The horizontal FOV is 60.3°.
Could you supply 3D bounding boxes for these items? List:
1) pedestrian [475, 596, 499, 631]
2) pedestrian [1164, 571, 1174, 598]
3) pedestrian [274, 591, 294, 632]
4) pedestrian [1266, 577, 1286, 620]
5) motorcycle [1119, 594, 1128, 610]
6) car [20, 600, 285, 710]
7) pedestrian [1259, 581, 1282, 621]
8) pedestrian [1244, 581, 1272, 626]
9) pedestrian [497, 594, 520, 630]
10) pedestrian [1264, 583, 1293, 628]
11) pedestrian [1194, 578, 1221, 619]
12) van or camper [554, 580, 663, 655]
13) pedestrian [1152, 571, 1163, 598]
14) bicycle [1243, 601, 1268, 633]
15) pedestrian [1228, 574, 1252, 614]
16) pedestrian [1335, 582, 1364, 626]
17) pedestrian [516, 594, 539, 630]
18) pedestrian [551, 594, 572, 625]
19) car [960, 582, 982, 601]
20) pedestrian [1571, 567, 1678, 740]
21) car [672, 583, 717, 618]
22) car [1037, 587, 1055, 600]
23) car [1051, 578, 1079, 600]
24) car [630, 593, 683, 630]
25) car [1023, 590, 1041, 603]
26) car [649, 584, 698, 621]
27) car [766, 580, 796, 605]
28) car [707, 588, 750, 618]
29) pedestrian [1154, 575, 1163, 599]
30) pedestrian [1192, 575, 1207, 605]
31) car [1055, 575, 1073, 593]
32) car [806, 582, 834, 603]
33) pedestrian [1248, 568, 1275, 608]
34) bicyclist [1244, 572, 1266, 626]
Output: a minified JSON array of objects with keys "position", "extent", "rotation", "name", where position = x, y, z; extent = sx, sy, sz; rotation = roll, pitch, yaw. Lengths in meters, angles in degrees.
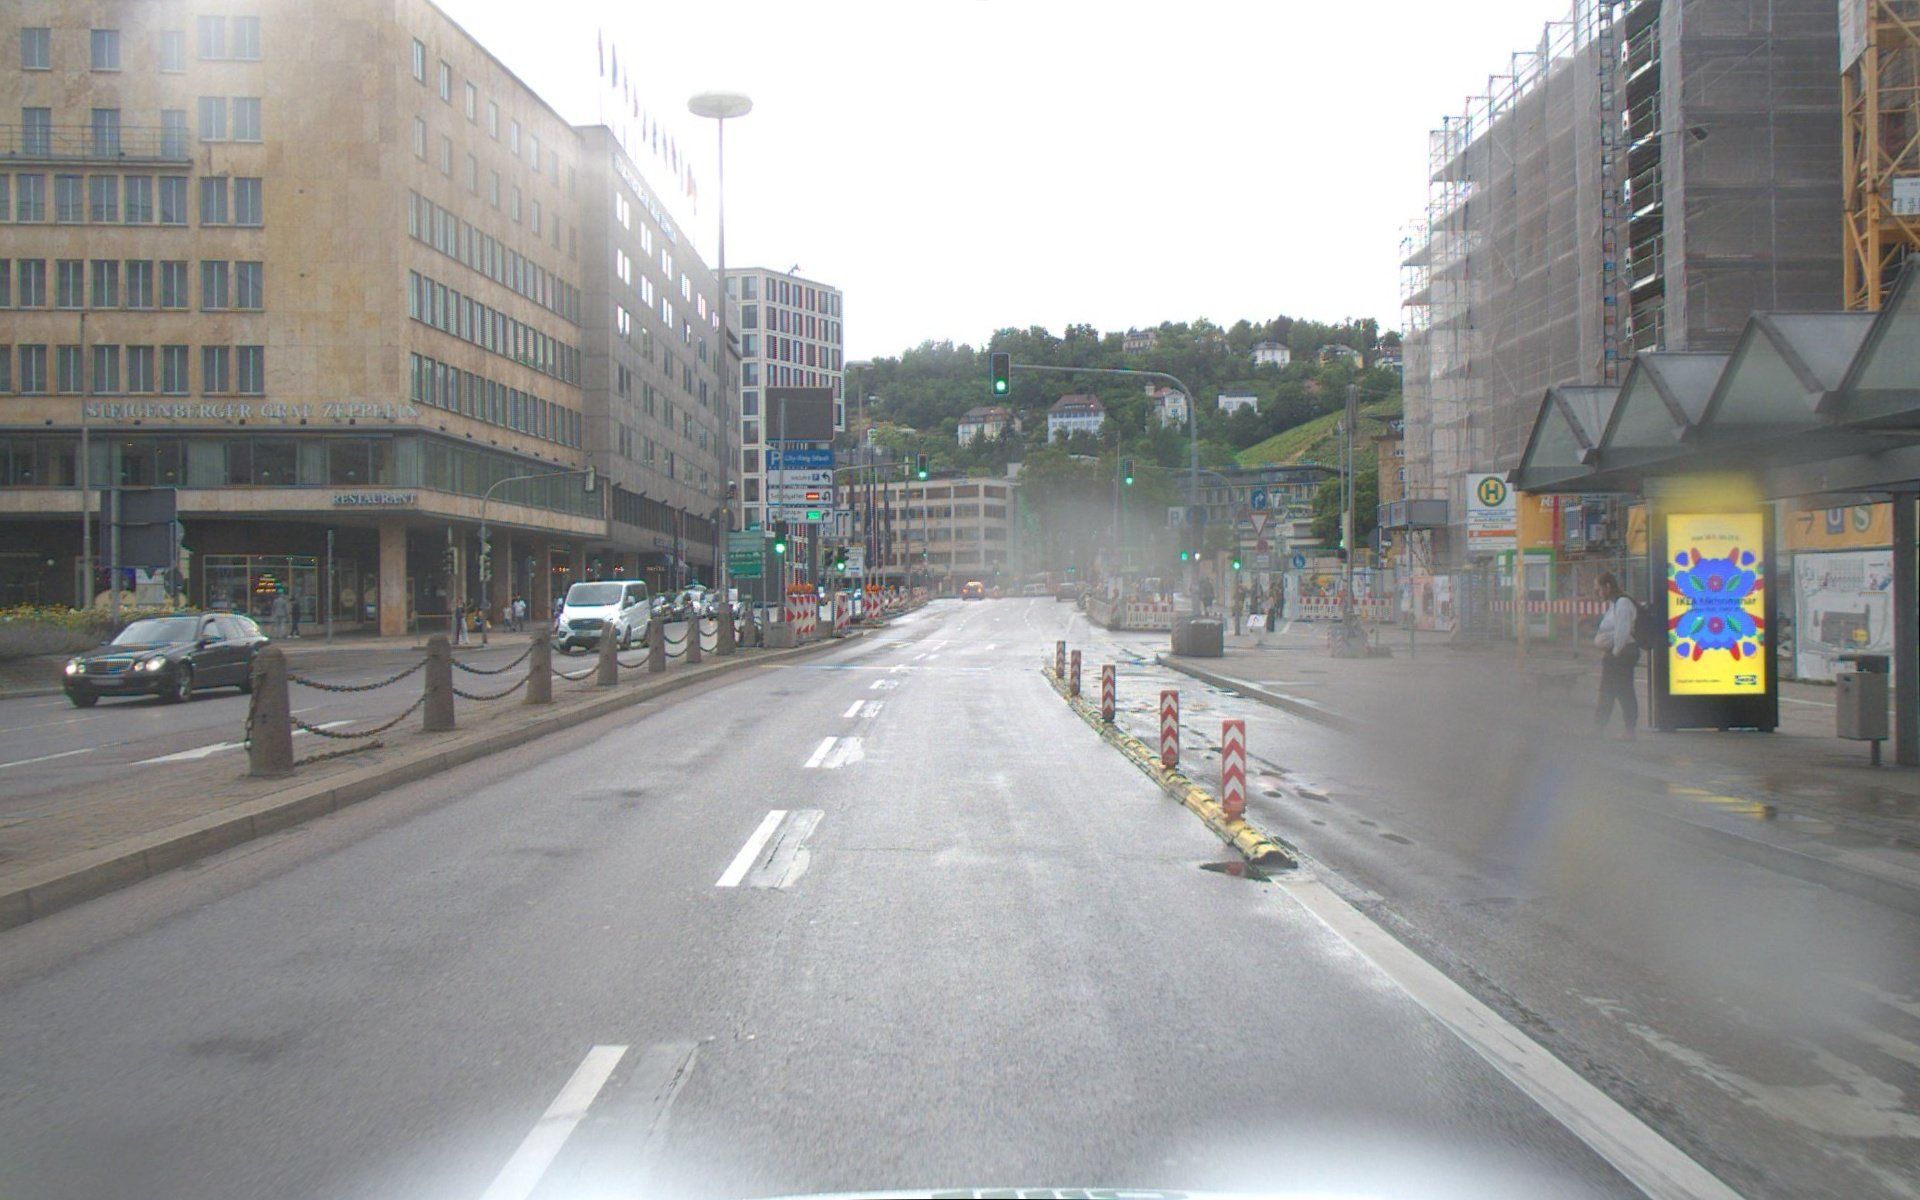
[{"position":[-21.245,0.603,74.288],"extent":[0.706,1.584,1.005],"rotation":[-1,0,2],"name":"pedestrian"},{"position":[14.413,-1.071,114.066],"extent":[0.673,1.873,0.615],"rotation":[-1,0,6],"name":"pedestrian"},{"position":[-28.074,0.470,68.692],"extent":[0.684,1.672,0.647],"rotation":[-1,0,-18],"name":"pedestrian"},{"position":[14.170,-0.074,74.214],"extent":[0.846,1.873,0.798],"rotation":[-1,0,11],"name":"pedestrian"},{"position":[7.654,0.080,77.445],"extent":[0.363,0.734,0.922],"rotation":[1,1,3],"name":"motorcycle"},{"position":[-13.647,0.860,28.354],"extent":[1.952,1.645,4.979],"rotation":[-1,0,2],"name":"car"},{"position":[13.473,0.030,71.697],"extent":[0.846,1.690,0.798],"rotation":[-1,0,3],"name":"pedestrian"},{"position":[10.964,0.125,60.847],"extent":[0.780,1.636,0.834],"rotation":[-1,0,29],"name":"pedestrian"},{"position":[-20.216,0.539,74.110],"extent":[0.706,1.584,0.905],"rotation":[-1,0,2],"name":"pedestrian"},{"position":[11.628,0.190,60.387],"extent":[0.780,1.636,0.834],"rotation":[-1,0,30],"name":"pedestrian"},{"position":[11.396,-0.074,76.219],"extent":[0.929,1.873,0.945],"rotation":[-1,0,31],"name":"pedestrian"},{"position":[-10.282,0.482,48.792],"extent":[1.952,2.049,5.190],"rotation":[-1,0,1],"name":"van or camper"},{"position":[13.630,-1.058,114.112],"extent":[0.673,1.873,0.615],"rotation":[-1,0,6],"name":"pedestrian"},{"position":[10.416,0.576,58.354],"extent":[0.692,1.068,1.807],"rotation":[0,1,5],"name":"bicycle"},{"position":[13.378,-0.278,79.090],"extent":[0.927,1.873,0.867],"rotation":[-1,0,-2],"name":"pedestrian"},{"position":[14.748,0.147,62.658],"extent":[0.754,1.636,0.860],"rotation":[-1,0,-14],"name":"pedestrian"},{"position":[-19.385,0.532,74.157],"extent":[0.706,1.584,0.895],"rotation":[-1,0,2],"name":"pedestrian"},{"position":[-20.742,0.497,86.092],"extent":[0.778,1.553,0.916],"rotation":[-1,0,3],"name":"pedestrian"},{"position":[1.013,-0.773,150.732],"extent":[1.953,1.579,4.000],"rotation":[-1,0,0],"name":"car"},{"position":[6.772,0.529,16.863],"extent":[0.693,1.709,0.717],"rotation":[-1,0,-28],"name":"pedestrian"},{"position":[-16.071,0.005,100.277],"extent":[1.952,2.049,4.165],"rotation":[-1,0,2],"name":"car"},{"position":[10.688,-0.833,204.967],"extent":[1.953,1.467,4.000],"rotation":[1,1,-1],"name":"car"},{"position":[8.305,-0.865,130.794],"extent":[1.953,1.735,4.000],"rotation":[-1,0,0],"name":"car"},{"position":[-16.183,0.588,88.278],"extent":[1.952,1.870,4.001],"rotation":[-1,1,2],"name":"car"},{"position":[8.322,-0.435,191.161],"extent":[1.782,1.467,4.000],"rotation":[1,1,0],"name":"car"},{"position":[-16.330,0.115,94.475],"extent":[1.952,2.049,4.001],"rotation":[-1,0,2],"name":"car"},{"position":[-15.610,-0.641,144.279],"extent":[1.952,2.048,4.001],"rotation":[-2,1,2],"name":"car"},{"position":[-13.246,0.176,94.782],"extent":[1.732,1.637,4.227],"rotation":[-1,0,1],"name":"car"},{"position":[15.408,-1.035,128.580],"extent":[0.673,1.873,0.615],"rotation":[-1,0,6],"name":"pedestrian"},{"position":[15.218,-0.657,105.087],"extent":[0.926,1.873,0.868],"rotation":[-1,0,7],"name":"pedestrian"},{"position":[10.688,-1.594,169.861],"extent":[1.739,1.668,4.001],"rotation":[-2,-1,2],"name":"car"},{"position":[-12.293,-0.672,145.704],"extent":[1.952,1.780,4.001],"rotation":[-1,0,2],"name":"car"},{"position":[14.251,-0.554,78.110],"extent":[0.852,1.873,0.943],"rotation":[-1,0,44],"name":"pedestrian"},{"position":[10.407,-0.031,58.321],"extent":[0.688,1.877,0.968],"rotation":[0,0,5],"name":"bicyclist"}]
